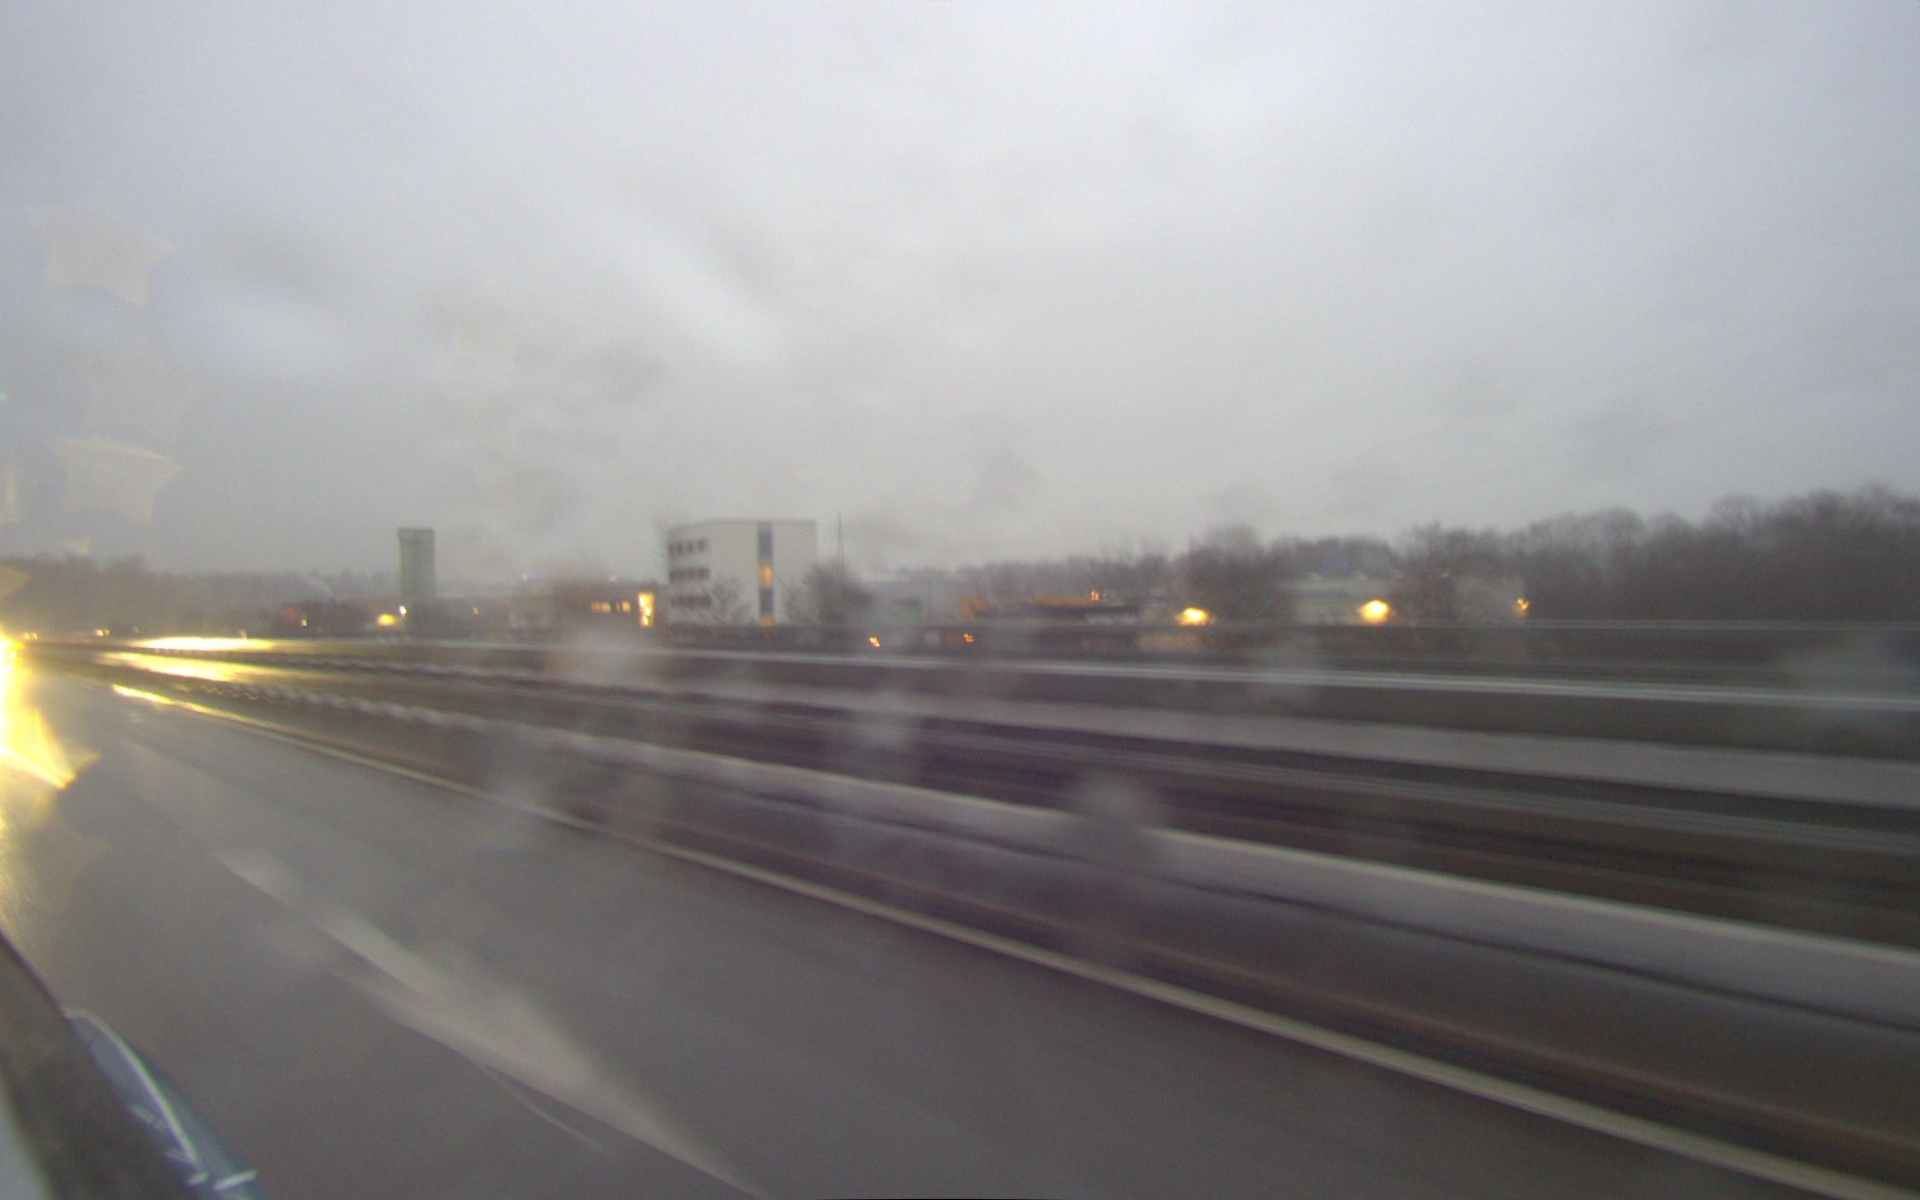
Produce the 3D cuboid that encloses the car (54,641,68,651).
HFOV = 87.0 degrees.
[{"bbox_3d":[-163.447,8.334,183.972,1.969,1.863,3.677,0,-2,-42],"label":"car"}]
